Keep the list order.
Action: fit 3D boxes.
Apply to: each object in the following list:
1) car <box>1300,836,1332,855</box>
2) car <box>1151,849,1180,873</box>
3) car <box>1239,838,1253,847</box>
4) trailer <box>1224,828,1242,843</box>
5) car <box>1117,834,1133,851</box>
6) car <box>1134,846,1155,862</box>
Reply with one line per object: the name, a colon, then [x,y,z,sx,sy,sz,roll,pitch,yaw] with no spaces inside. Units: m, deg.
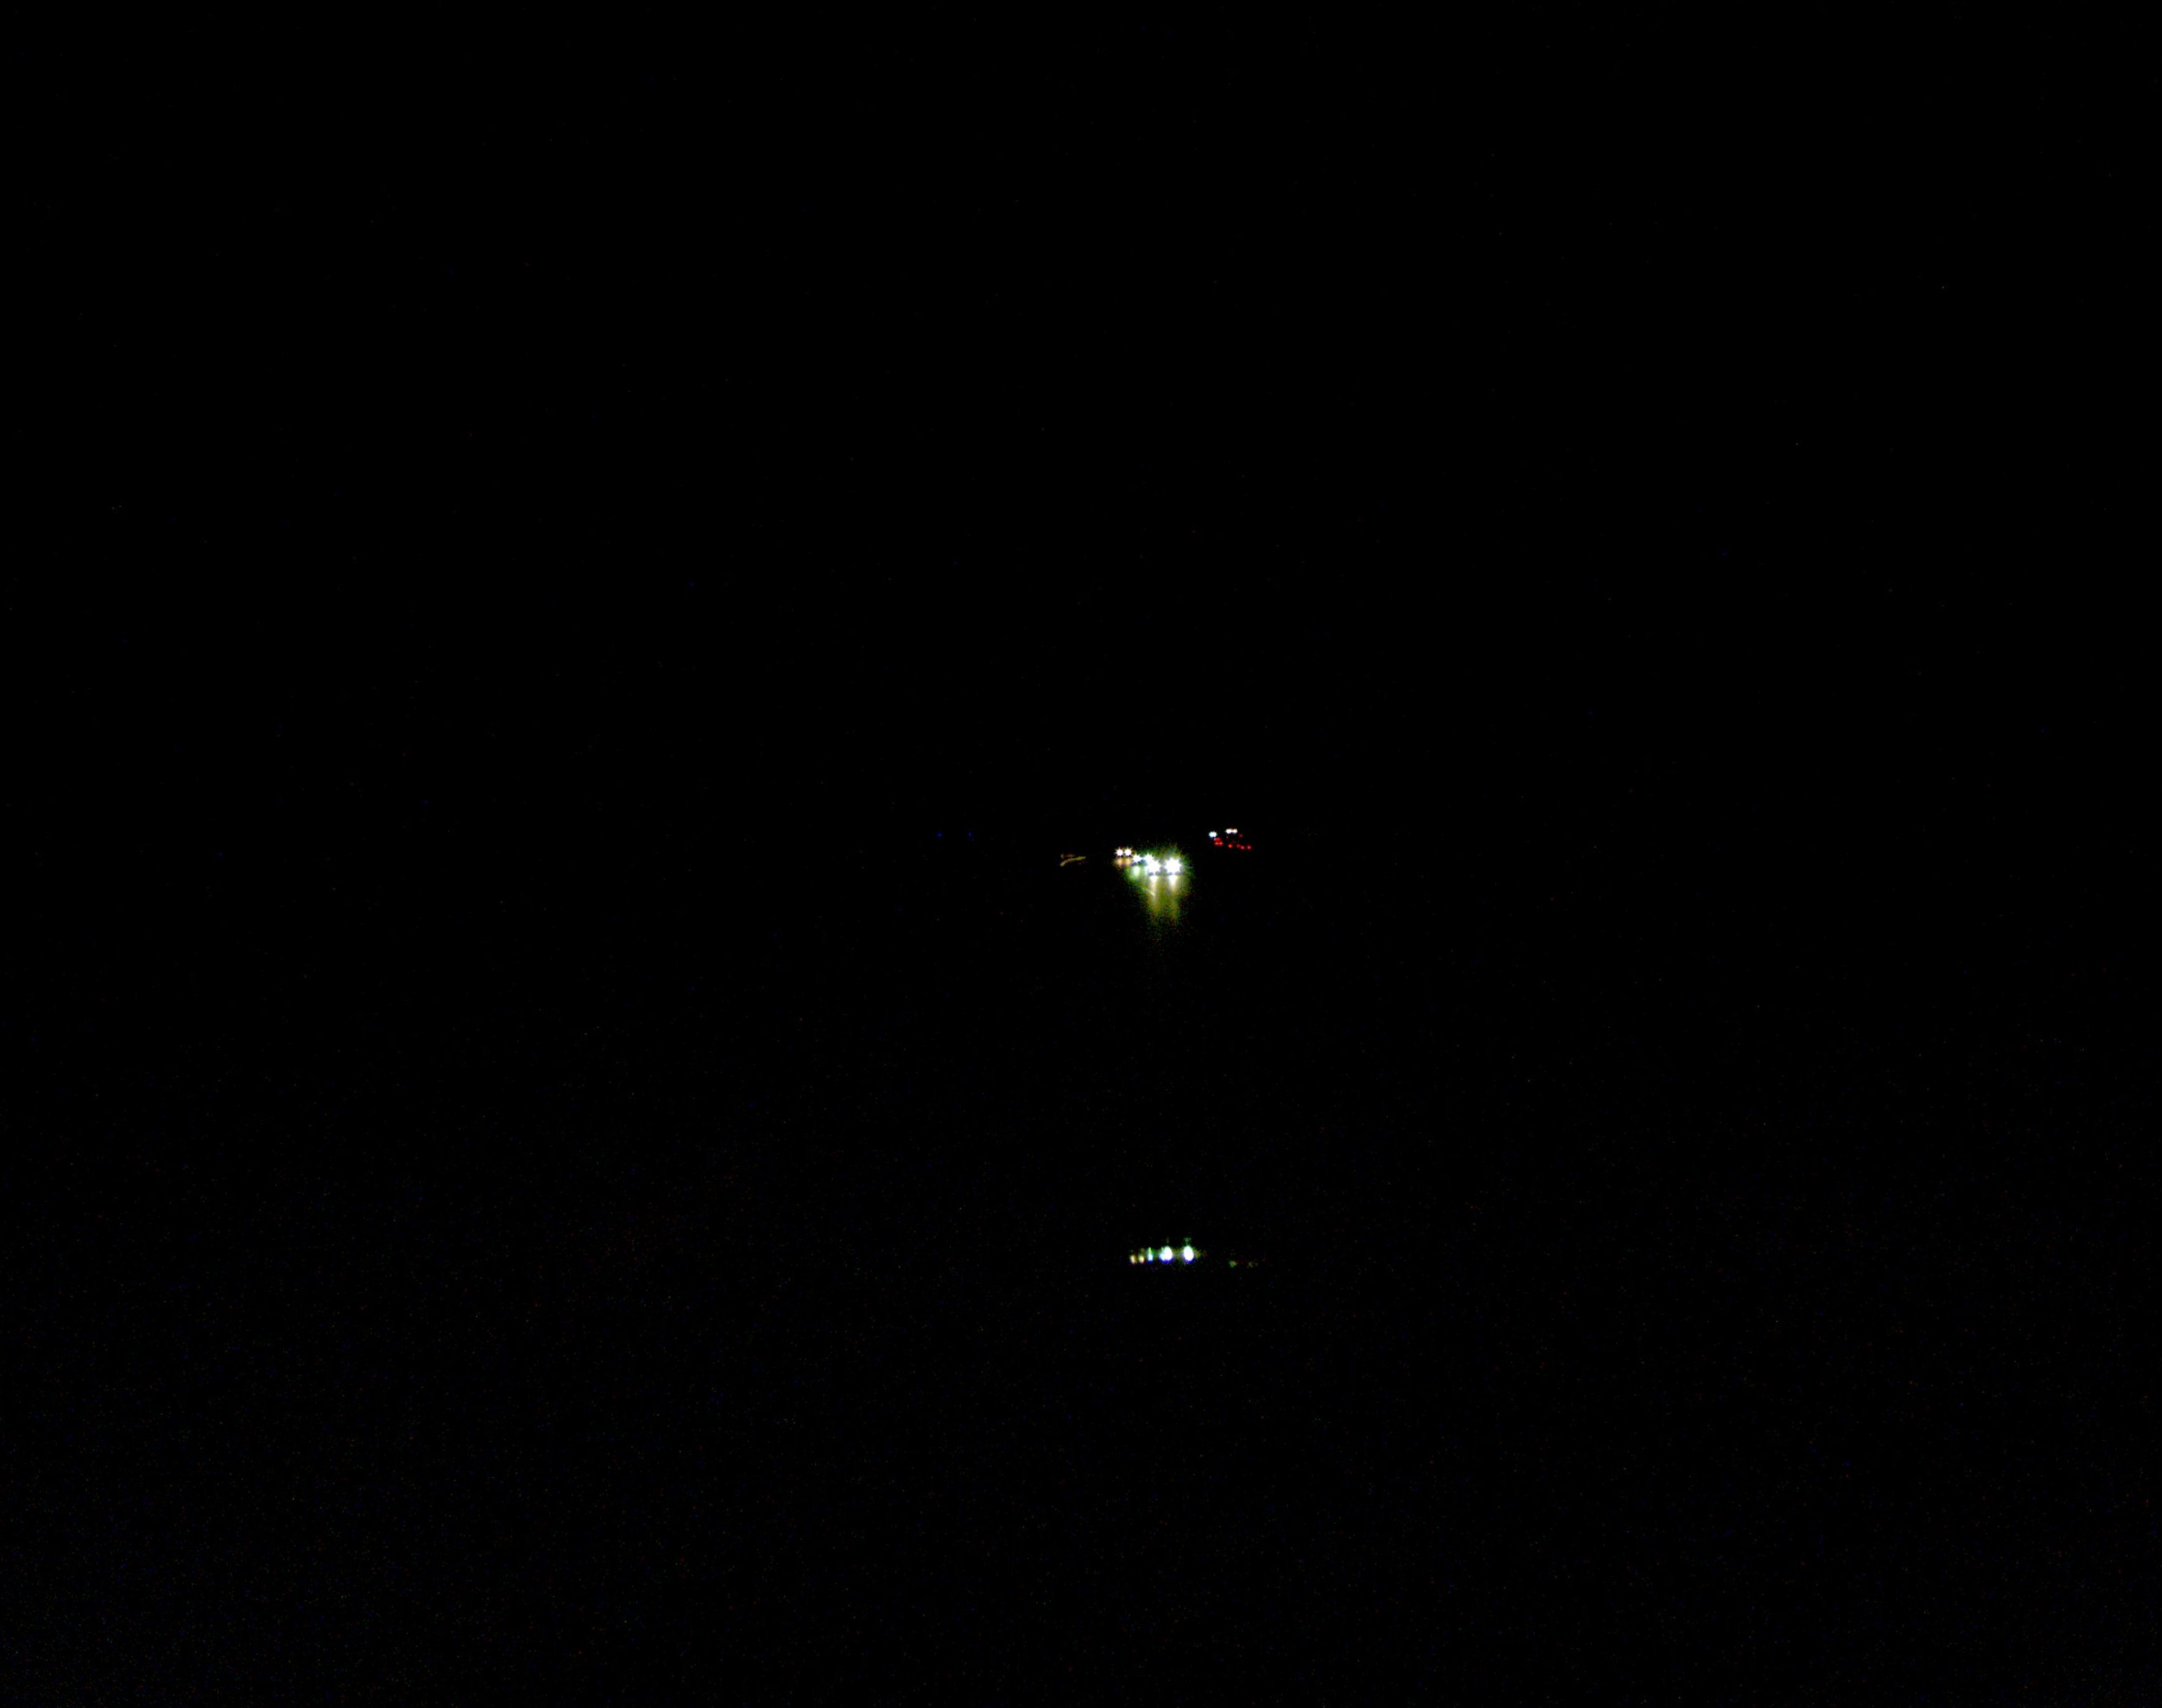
car: [23.971,-0.853,77.533,1.998,1.843,4.076,-2,0,1]
car: [5.716,0.439,51.674,1.832,1.404,4.001,-3,1,5]
car: [35.690,-2.399,164.246,2.403,1.865,4.513,-1,1,4]
trailer: [42.175,-5.104,210.720,3.606,4.067,14.127,-1,1,6]
car: [8.217,-2.131,140.769,2.533,2.889,6.228,-3,2,7]
car: [7.230,-0.014,86.655,1.997,1.456,4.001,-3,2,9]
